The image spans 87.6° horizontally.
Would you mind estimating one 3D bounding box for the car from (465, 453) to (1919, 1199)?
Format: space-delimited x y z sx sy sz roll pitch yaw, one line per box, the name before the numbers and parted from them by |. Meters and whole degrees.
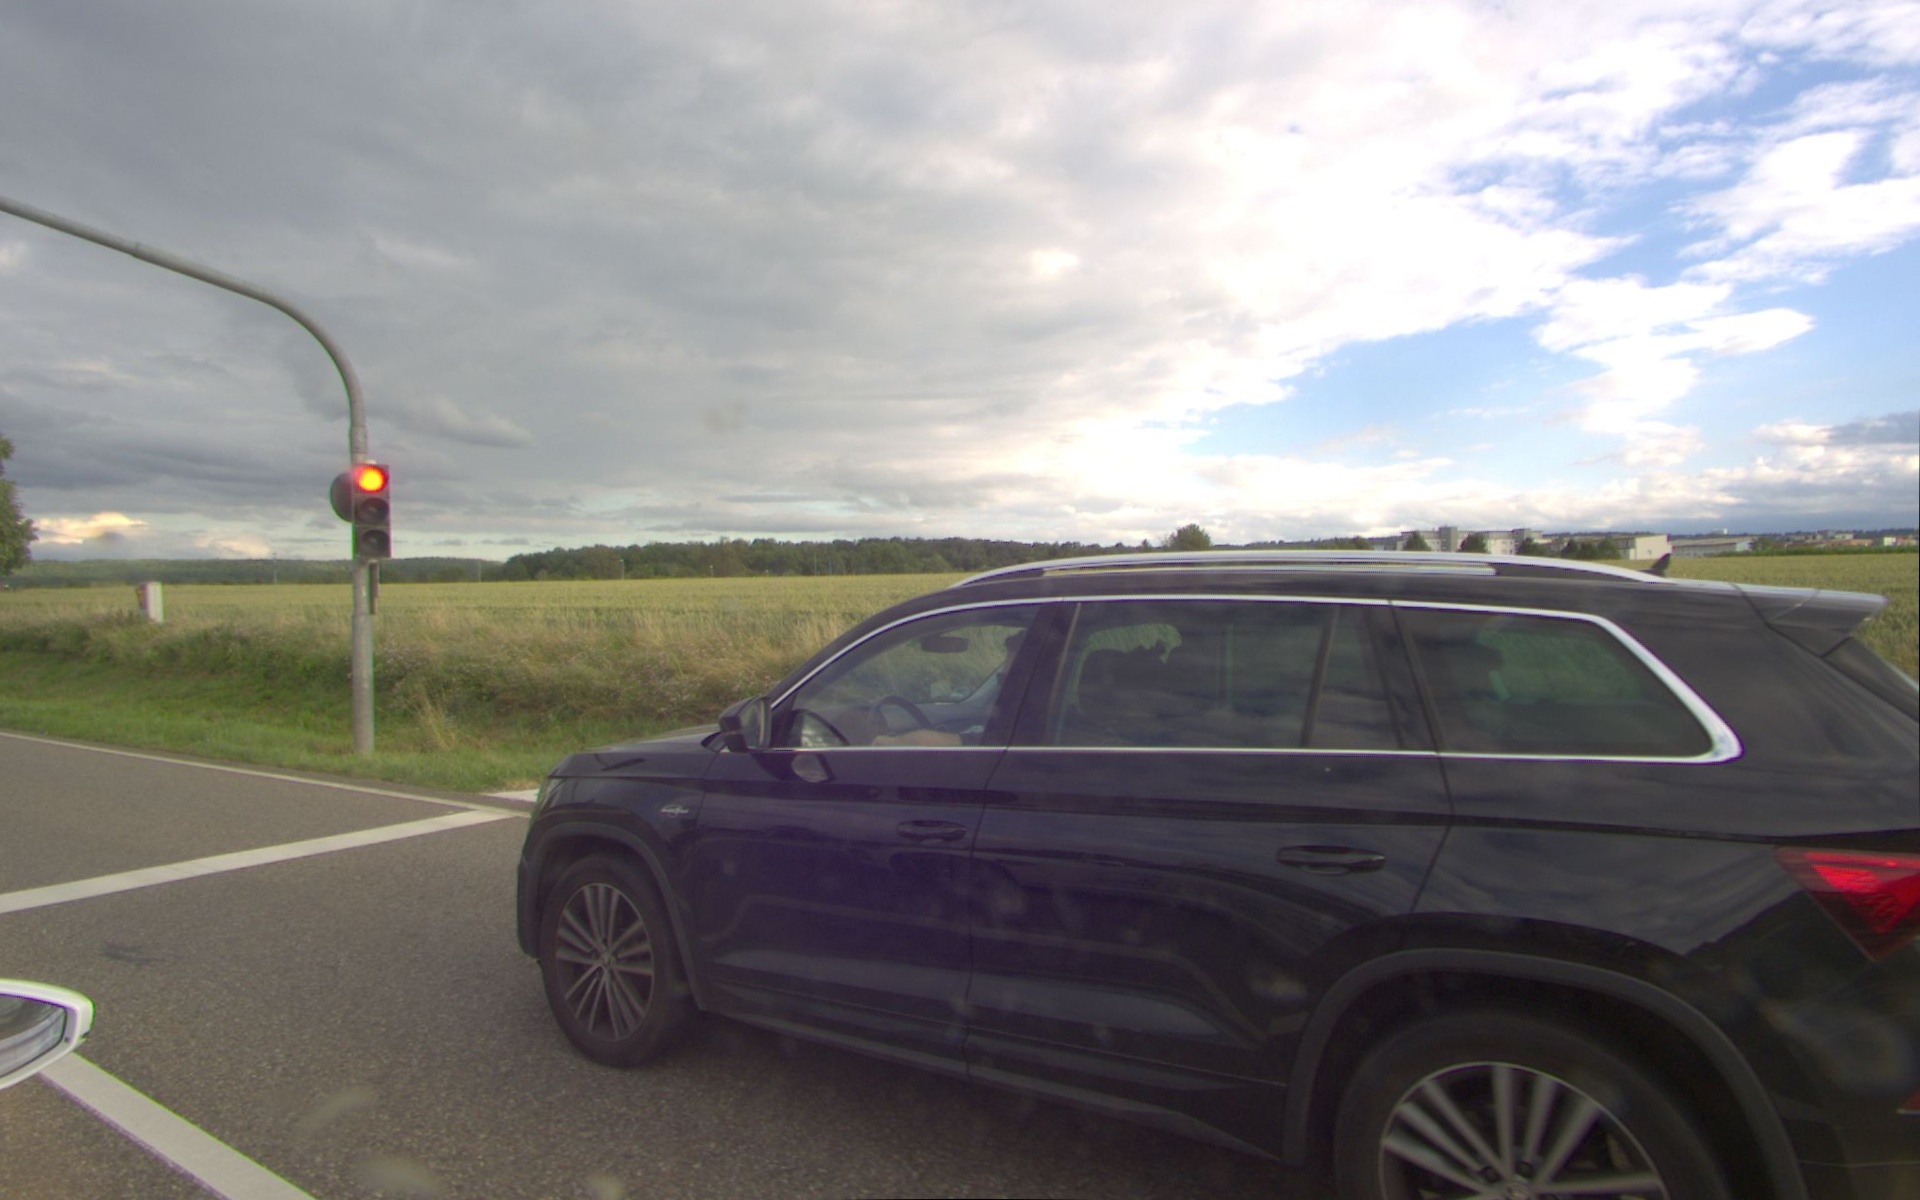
car | 0.506 0.697 3.364 4.492 1.730 1.833 -1 -2 32
